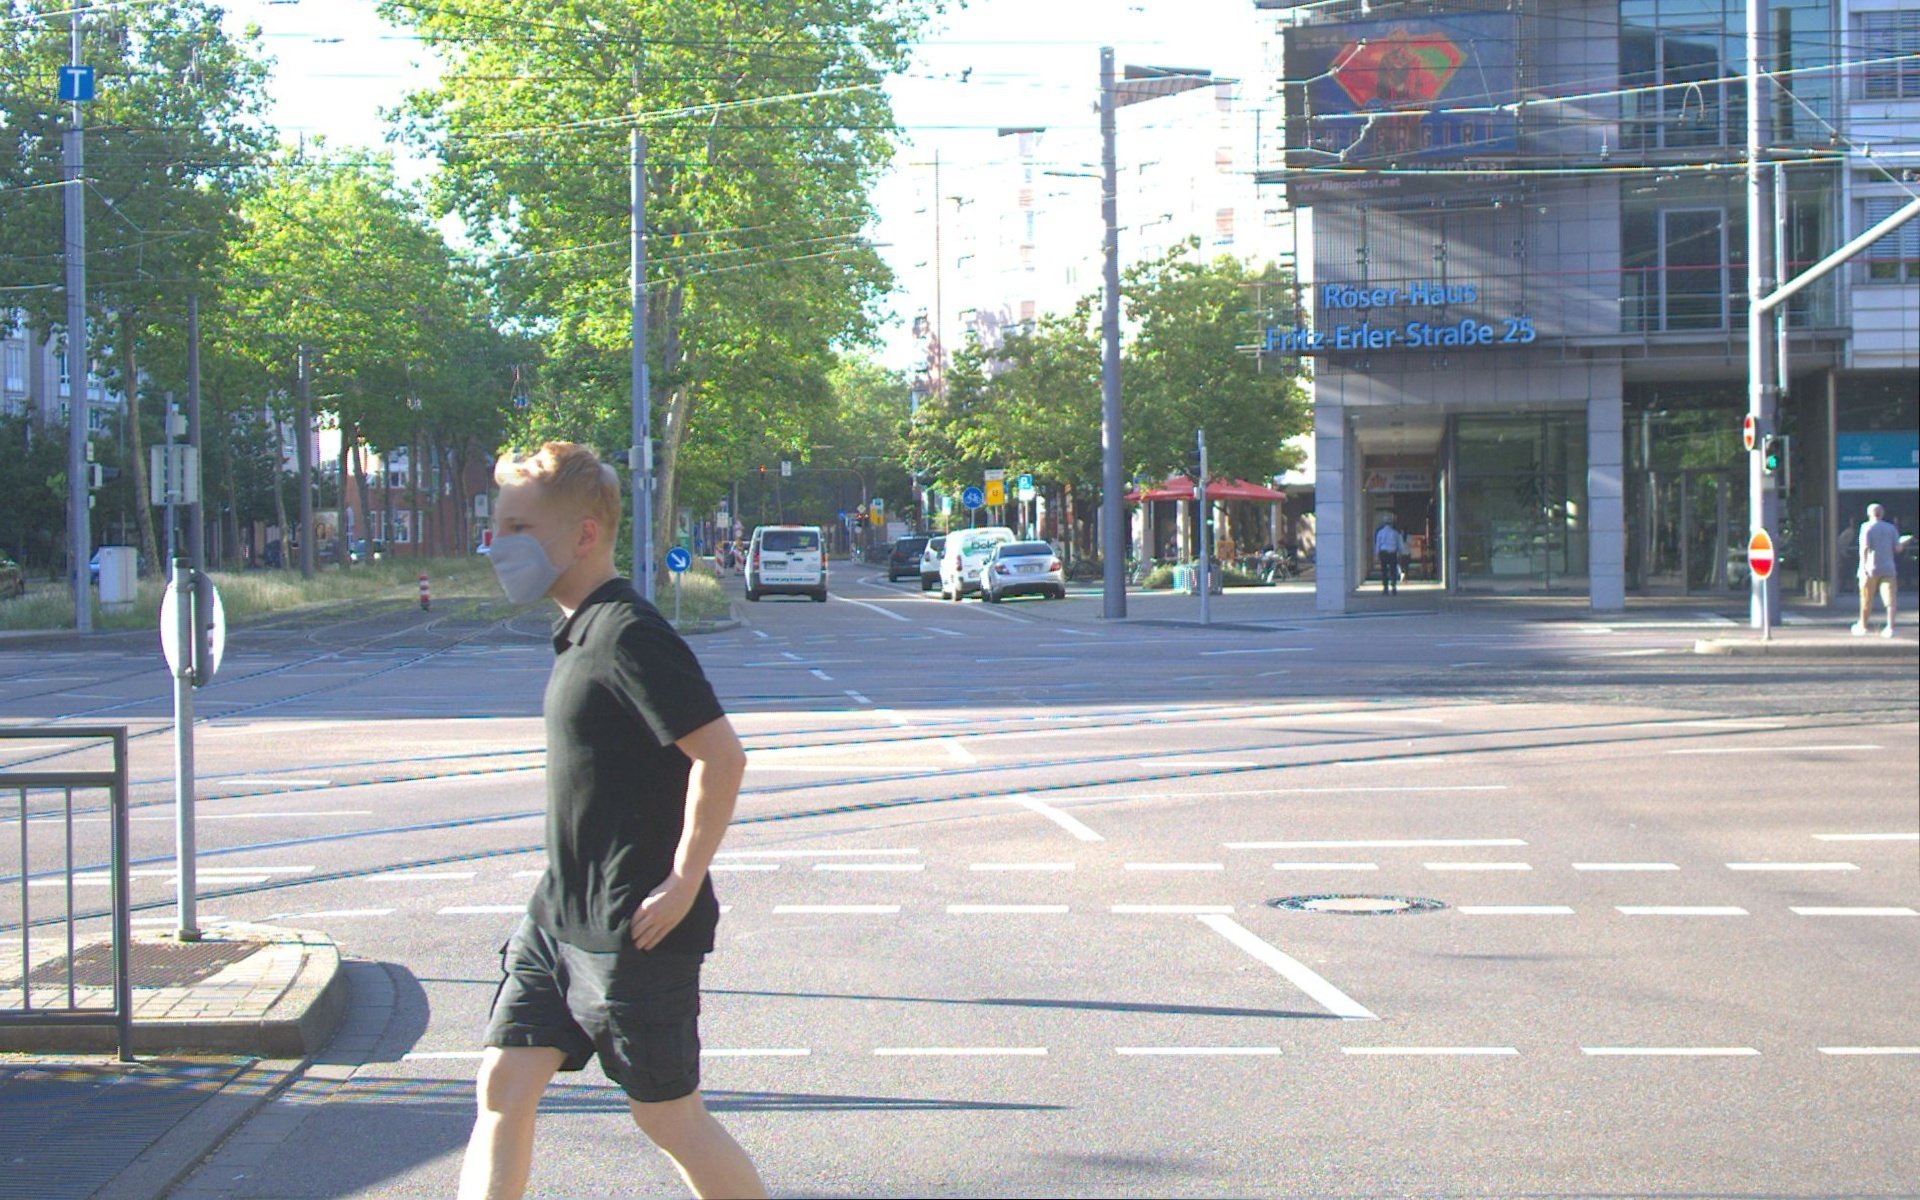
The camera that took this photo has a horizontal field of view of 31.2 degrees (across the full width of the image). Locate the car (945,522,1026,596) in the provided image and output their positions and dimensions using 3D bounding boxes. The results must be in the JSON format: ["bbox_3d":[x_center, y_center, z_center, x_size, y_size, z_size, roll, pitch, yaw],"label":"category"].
[{"bbox_3d":[0.643,-1.093,89.563,1.993,1.853,4.000,-1,1,-1],"label":"car"}]

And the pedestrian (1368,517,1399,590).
[{"bbox_3d":[8.724,-0.957,70.804,0.612,1.502,0.579,-1,1,8],"label":"pedestrian"}]

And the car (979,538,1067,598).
[{"bbox_3d":[1.488,-0.784,82.767,1.993,1.371,4.000,-1,1,-1],"label":"car"}]

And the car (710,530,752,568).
[{"bbox_3d":[-12.455,-2.784,187.139,1.993,2.007,4.000,-1,1,-1],"label":"car"}]

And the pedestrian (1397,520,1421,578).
[{"bbox_3d":[11.745,-1.325,89.954,0.612,1.502,0.579,-1,1,7],"label":"pedestrian"}]

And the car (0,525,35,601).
[{"bbox_3d":[-21.670,-0.797,74.916,1.993,1.634,4.000,-1,1,-1],"label":"car"}]

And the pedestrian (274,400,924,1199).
[{"bbox_3d":[-0.672,0.535,6.155,1.089,1.742,0.743,0,1,-11],"label":"pedestrian"}]

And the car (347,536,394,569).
[{"bbox_3d":[-33.626,-2.726,196.288,1.993,1.809,4.000,-1,1,-1],"label":"car"}]

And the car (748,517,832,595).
[{"bbox_3d":[-4.197,-1.113,85.430,1.961,1.842,5.331,-1,1,-2],"label":"car"}]

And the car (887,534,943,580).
[{"bbox_3d":[-1.648,-1.594,126.659,1.993,1.612,4.000,-1,1,0],"label":"car"}]

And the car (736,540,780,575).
[{"bbox_3d":[-8.618,-1.816,146.876,1.797,1.437,4.000,1,1,-2],"label":"car"}]

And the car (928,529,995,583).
[{"bbox_3d":[0.031,-1.356,105.208,1.993,1.612,4.000,-1,1,0],"label":"car"}]

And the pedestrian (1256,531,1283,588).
[{"bbox_3d":[9.435,-1.232,104.956,0.744,1.708,0.612,-1,1,-1],"label":"pedestrian"}]

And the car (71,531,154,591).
[{"bbox_3d":[-29.041,-1.343,117.896,1.993,2.007,4.001,-1,1,-3],"label":"car"}]

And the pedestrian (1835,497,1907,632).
[{"bbox_3d":[12.206,-0.480,46.087,0.864,1.782,0.871,-1,1,12],"label":"pedestrian"}]

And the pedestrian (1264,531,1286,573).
[{"bbox_3d":[9.763,-1.501,106.501,0.577,1.284,0.910,-1,1,-1],"label":"pedestrian"}]
